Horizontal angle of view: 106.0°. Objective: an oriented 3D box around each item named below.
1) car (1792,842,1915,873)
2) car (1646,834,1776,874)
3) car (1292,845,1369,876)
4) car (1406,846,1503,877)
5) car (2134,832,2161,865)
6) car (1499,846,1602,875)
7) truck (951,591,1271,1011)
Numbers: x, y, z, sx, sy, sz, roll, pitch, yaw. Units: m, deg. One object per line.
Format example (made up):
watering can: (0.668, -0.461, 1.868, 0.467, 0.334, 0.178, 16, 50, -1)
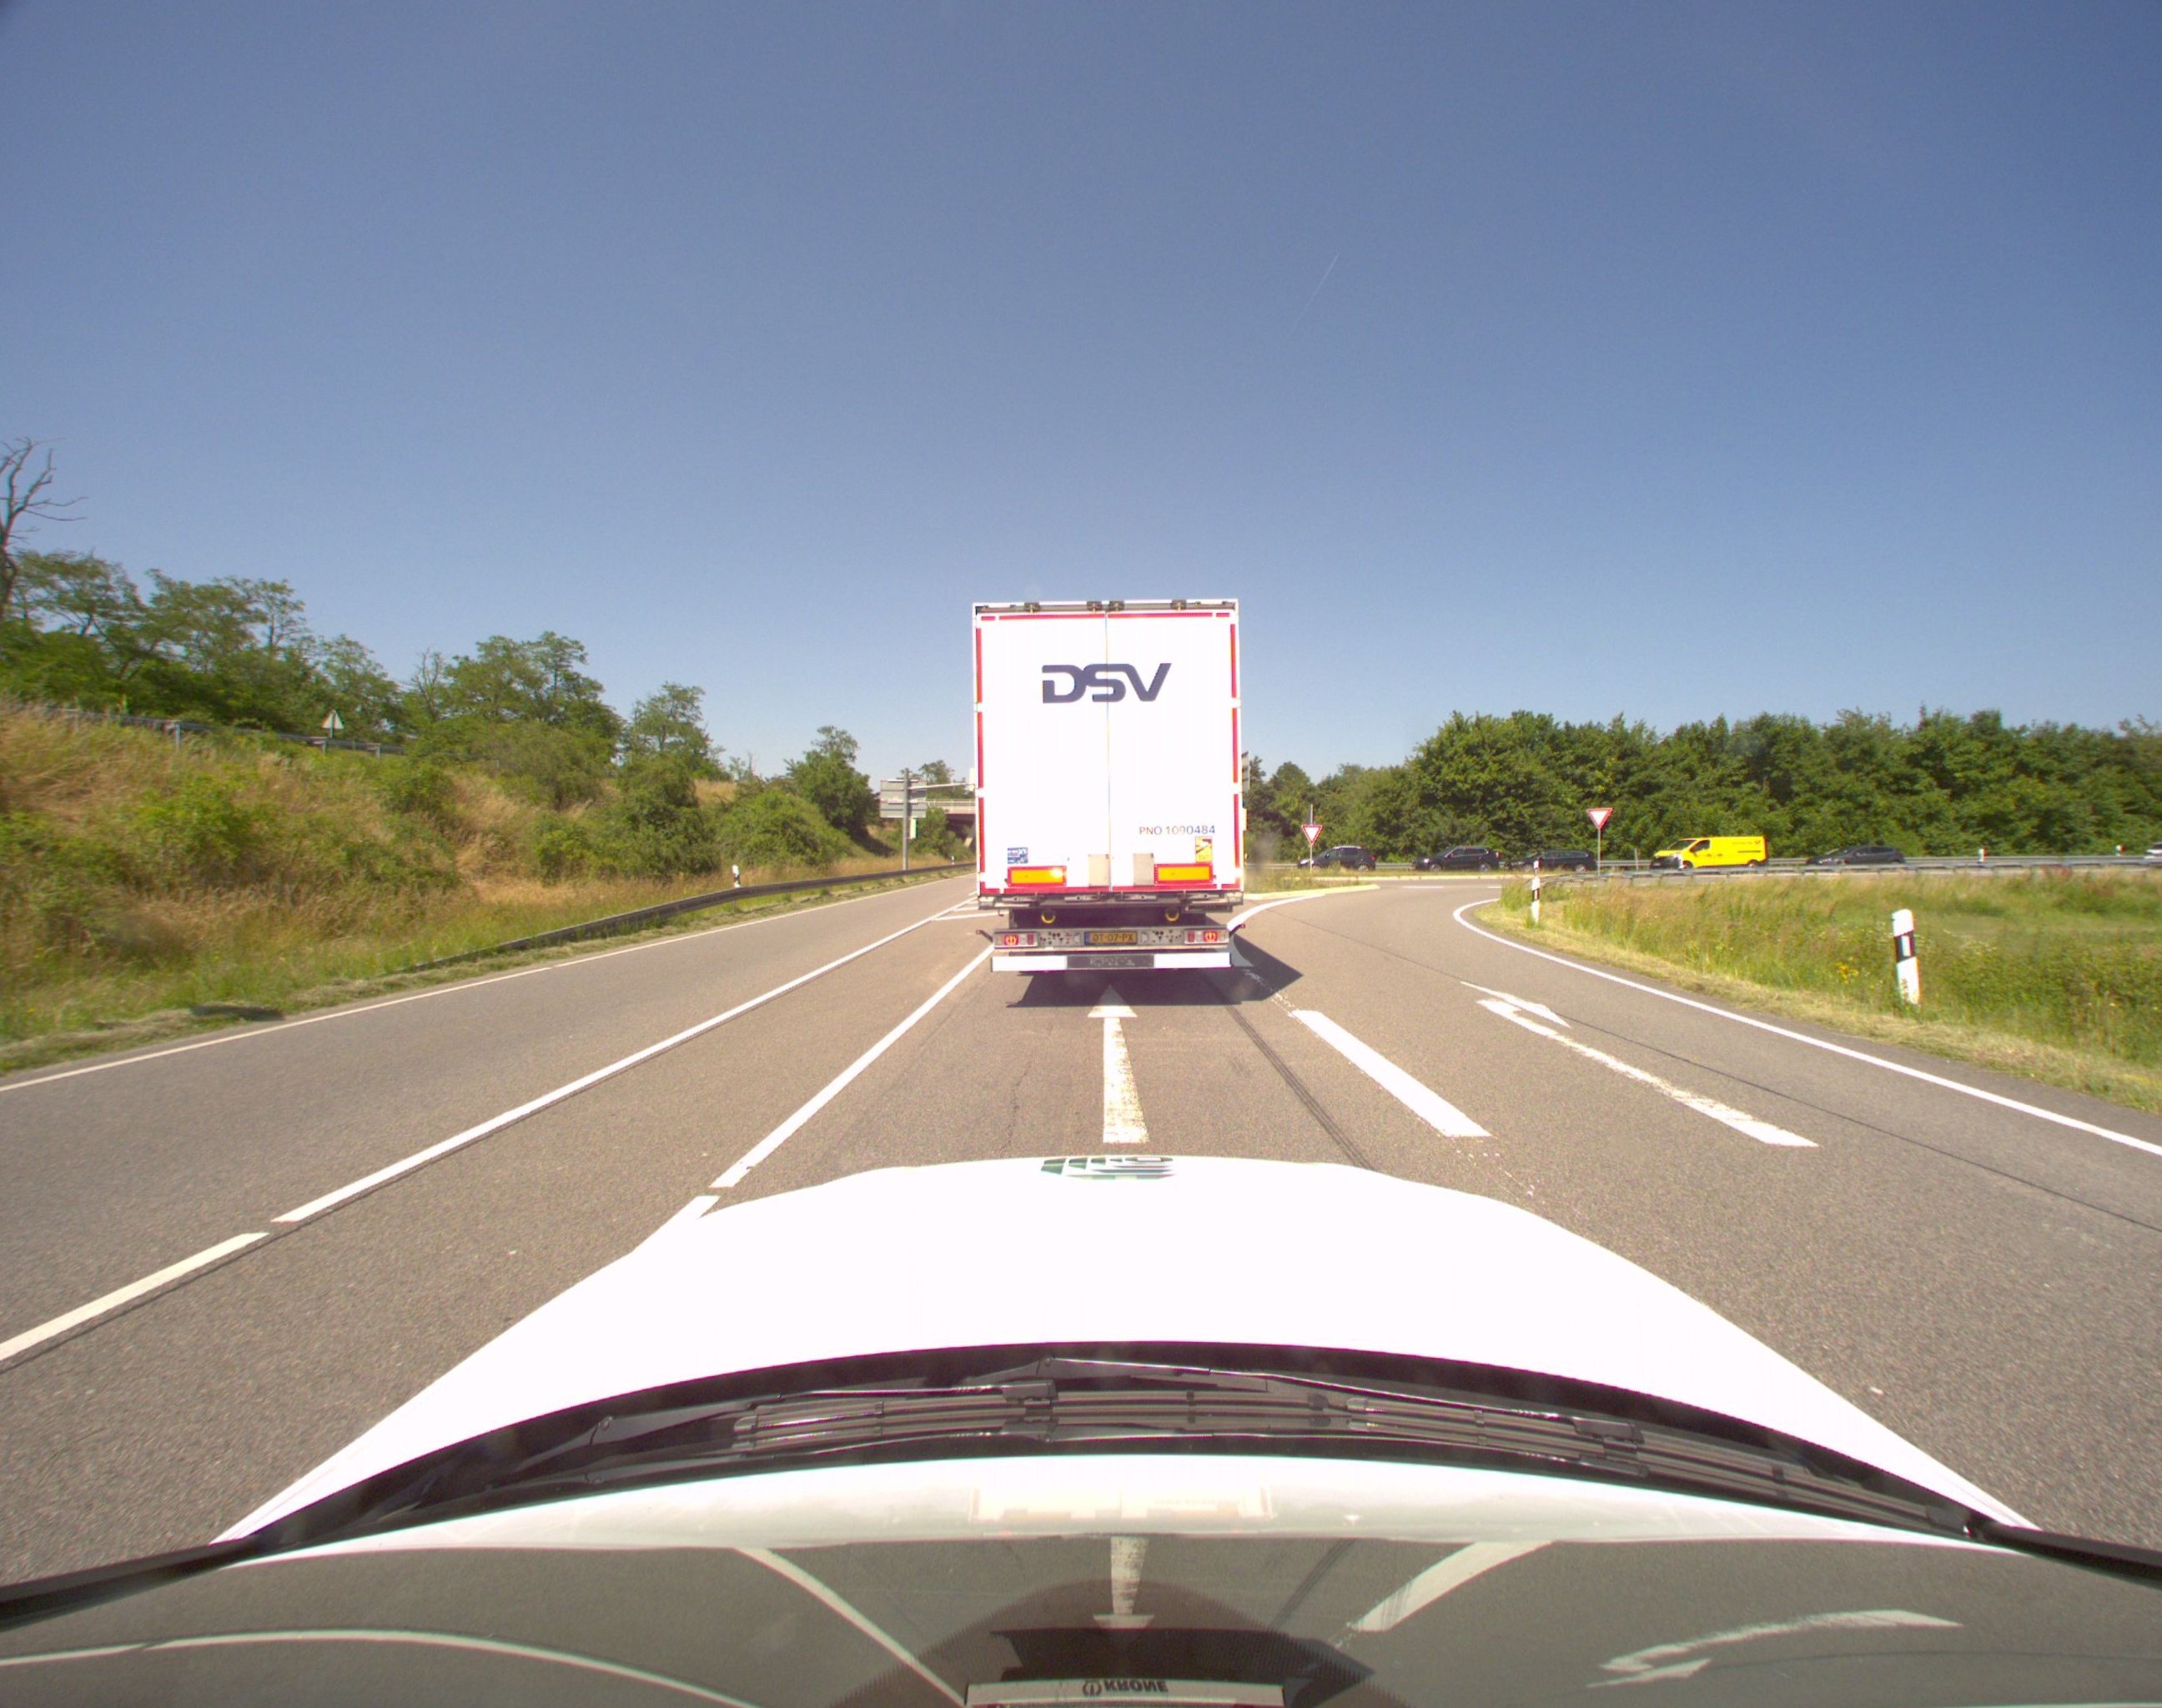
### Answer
car: (41.250, 0.192, 43.568, 4.662, 1.514, 1.855, -1, -1, 3)
car: (33.703, -0.010, 43.685, 5.300, 2.014, 2.001, -1, -1, 2)
car: (14.241, 0.379, 46.605, 3.964, 1.640, 1.845, -1, -1, 7)
car: (20.295, 0.420, 44.417, 4.466, 1.598, 1.770, -1, -1, 4)
car: (54.130, -0.351, 39.284, 4.455, 1.567, 1.738, -2, 0, -1)
car: (26.258, 0.372, 45.667, 4.655, 1.514, 1.858, -1, -1, 8)
truck: (0.396, -0.493, 12.642, 2.977, 3.942, 9.878, -1, 0, 1)
